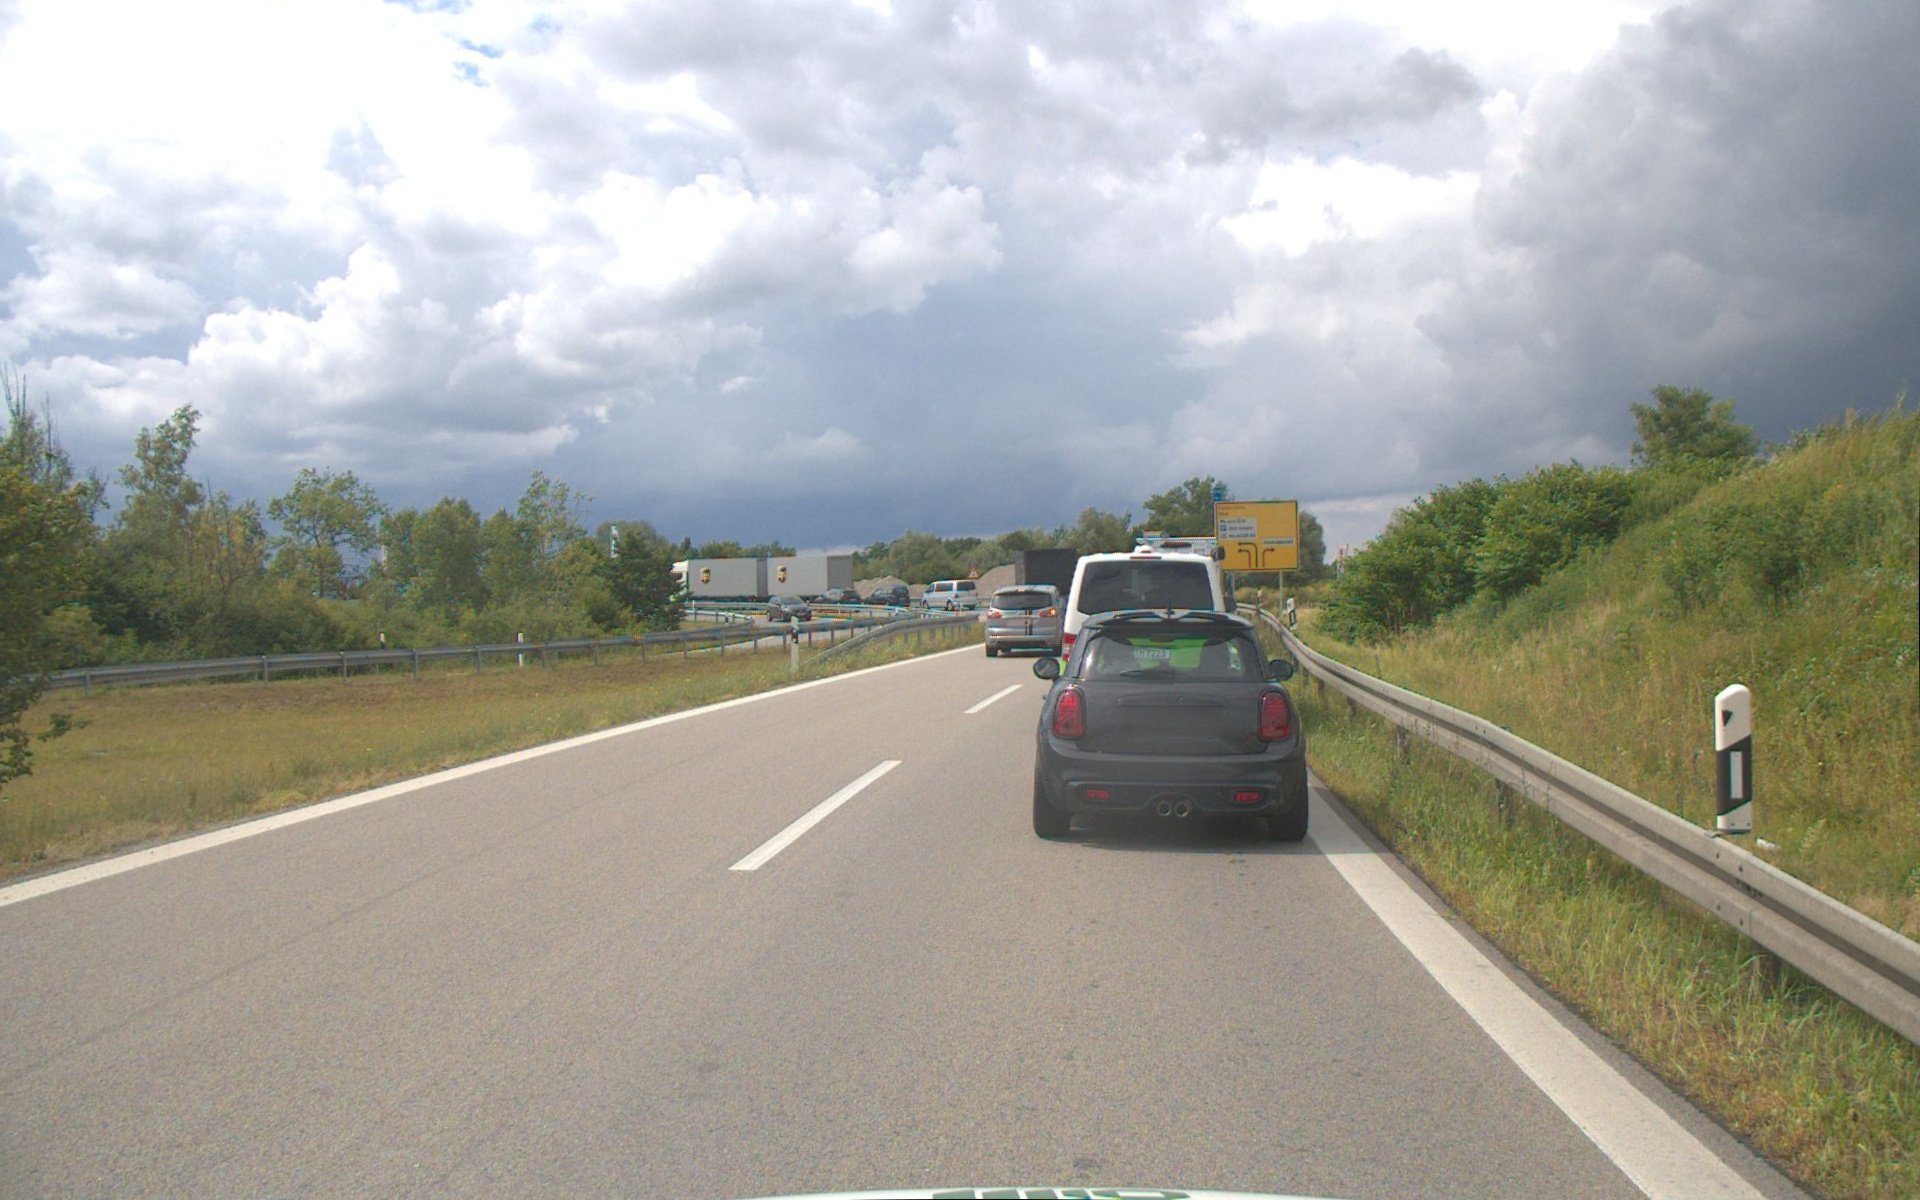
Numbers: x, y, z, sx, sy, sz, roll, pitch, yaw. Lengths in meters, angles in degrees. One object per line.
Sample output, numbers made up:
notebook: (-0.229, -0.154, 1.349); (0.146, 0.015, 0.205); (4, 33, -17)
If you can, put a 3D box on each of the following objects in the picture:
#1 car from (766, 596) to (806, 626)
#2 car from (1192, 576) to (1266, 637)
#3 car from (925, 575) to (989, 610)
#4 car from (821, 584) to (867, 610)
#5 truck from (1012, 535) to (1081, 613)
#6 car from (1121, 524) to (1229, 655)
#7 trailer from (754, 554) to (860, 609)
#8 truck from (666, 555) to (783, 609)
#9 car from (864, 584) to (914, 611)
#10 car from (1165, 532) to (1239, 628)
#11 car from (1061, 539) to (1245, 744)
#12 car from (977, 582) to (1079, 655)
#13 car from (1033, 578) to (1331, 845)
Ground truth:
car: (-10.297, 0.644, 97.540); (1.730, 1.621, 3.984); (-2, -1, -14)
car: (7.773, 0.204, 48.059); (1.951, 1.671, 3.931); (1, -1, 7)
car: (-0.234, -0.476, 110.954); (2.261, 2.300, 5.065); (1, -1, -26)
car: (-8.183, -0.181, 116.263); (1.792, 1.786, 3.963); (2, -1, -28)
truck: (3.792, -1.080, 74.102); (2.508, 3.223, 7.466); (1, -1, -1)
car: (4.763, -0.172, 36.808); (2.164, 2.668, 5.538); (1, -1, 7)
trailer: (-11.529, -1.357, 124.041); (8.621, 3.966, 3.026); (0, -1, 44)
truck: (-18.580, -1.417, 129.879); (9.827, 4.046, 2.835); (0, -1, 35)
car: (-5.080, -0.190, 118.364); (1.899, 1.870, 4.277); (2, -1, -28)
car: (8.444, -0.598, 57.203); (2.261, 3.122, 6.667); (1, -1, 10)
car: (2.235, 0.435, 19.068); (1.870, 2.081, 4.184); (0, 0, 7)
car: (1.688, 0.445, 39.517); (1.978, 1.605, 4.590); (-1, -1, 8)
car: (1.451, 0.668, 11.773); (1.762, 1.573, 3.740); (1, 0, 4)
